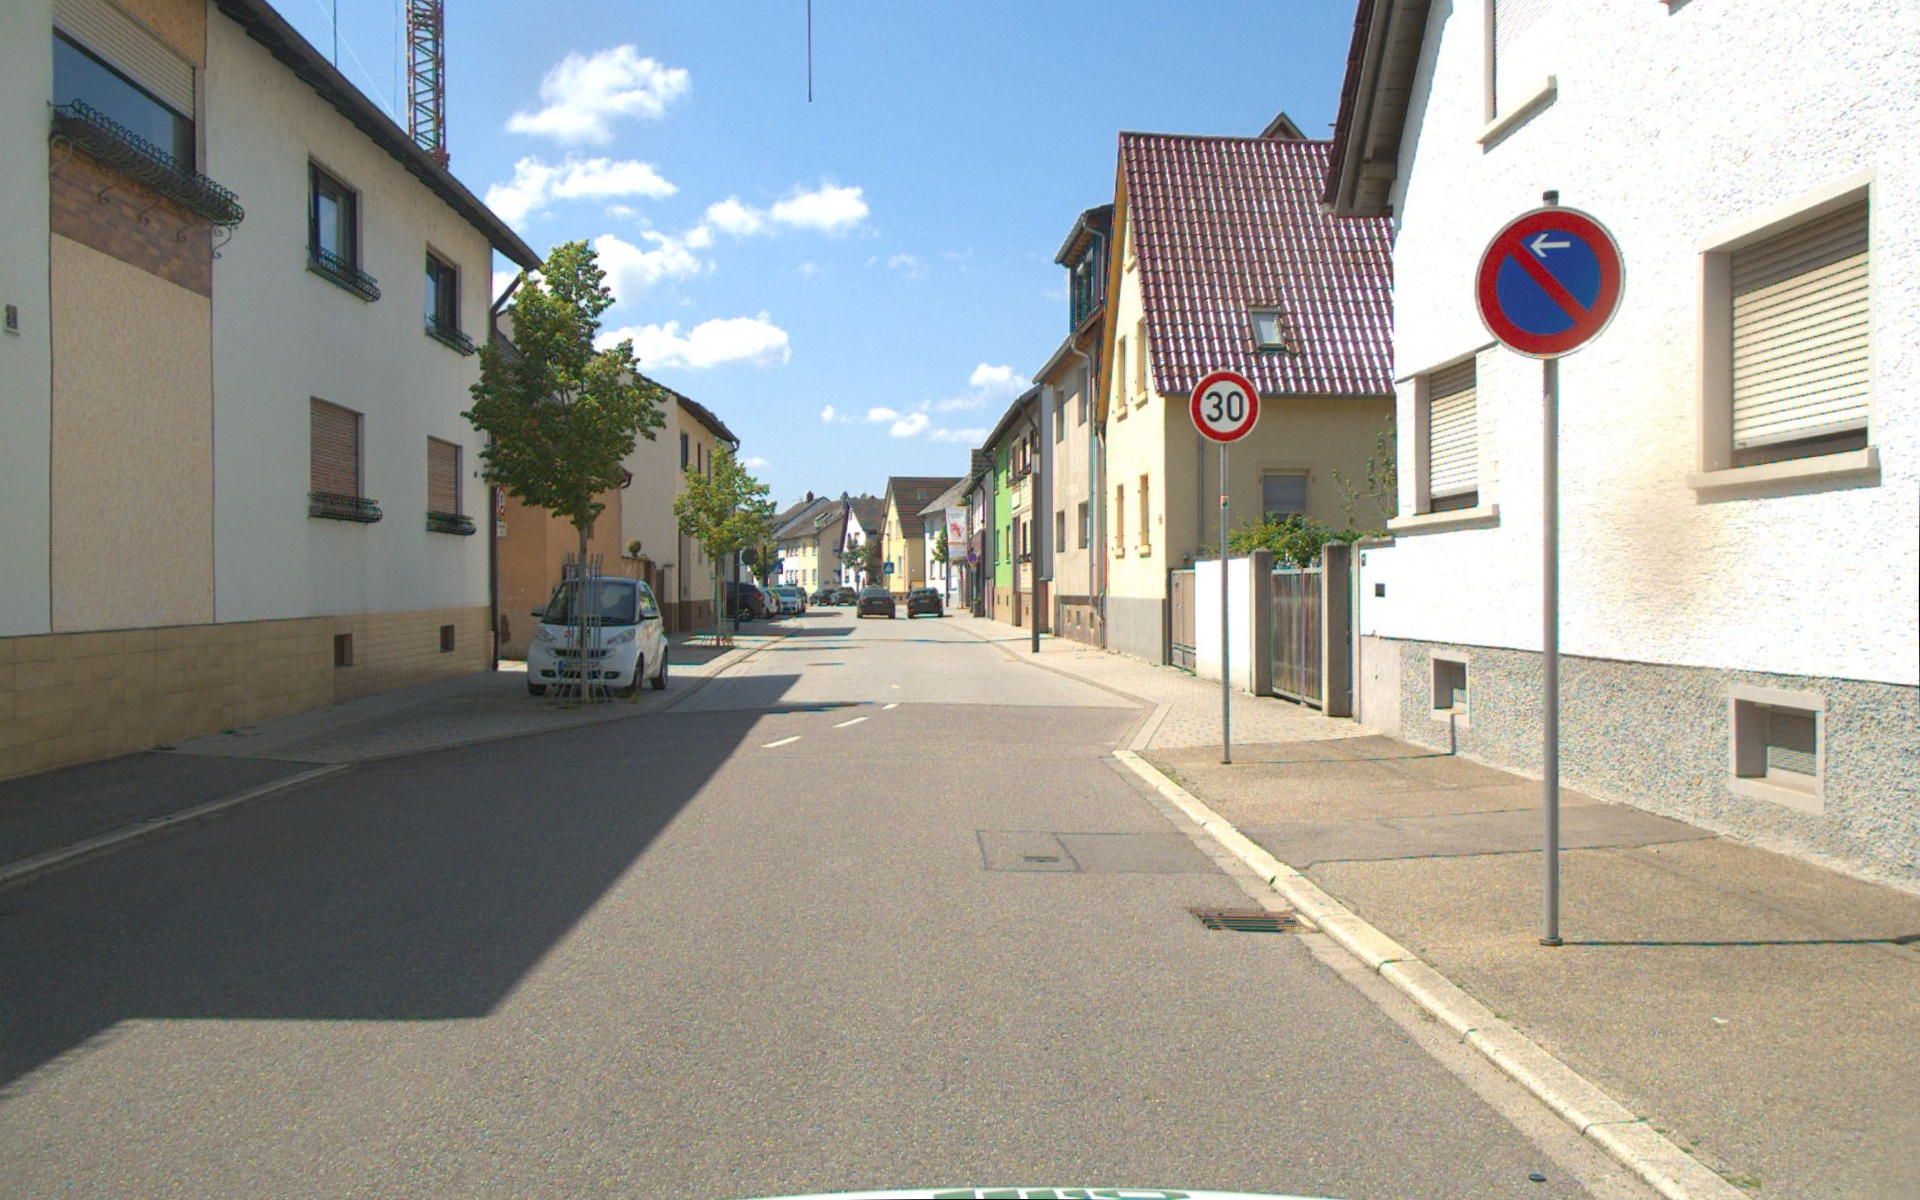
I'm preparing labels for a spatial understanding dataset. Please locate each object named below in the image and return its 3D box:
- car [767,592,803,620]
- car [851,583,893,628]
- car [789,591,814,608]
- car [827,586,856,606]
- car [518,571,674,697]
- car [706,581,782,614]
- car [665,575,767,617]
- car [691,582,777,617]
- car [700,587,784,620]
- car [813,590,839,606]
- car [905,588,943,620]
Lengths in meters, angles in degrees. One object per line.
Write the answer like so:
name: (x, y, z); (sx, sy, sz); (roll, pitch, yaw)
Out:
car: (-9.723, 0.309, 92.102); (1.722, 1.435, 3.876); (1, 1, -3)
car: (-4.321, 0.230, 80.894); (1.954, 2.093, 4.371); (-1, 1, -4)
car: (-15.364, -0.047, 160.048); (1.846, 1.619, 3.985); (-1, 1, -15)
car: (-10.011, -0.334, 139.363); (1.816, 1.590, 3.679); (-1, 1, -15)
car: (-4.932, 0.429, 22.721); (1.540, 1.588, 2.821); (2, 0, -1)
car: (-10.925, -0.123, 83.933); (3.618, 1.552, 1.672); (2, 0, -2)
car: (-10.394, -0.182, 70.671); (4.135, 1.687, 1.783); (1, 0, -4)
car: (-10.696, -0.016, 78.568); (3.822, 1.528, 1.750); (2, 0, -2)
car: (-10.664, 0.180, 81.052); (3.908, 1.467, 1.690); (2, 0, -3)
car: (-11.949, -0.200, 146.973); (1.682, 1.411, 3.691); (-1, 1, -15)
car: (-1.812, 0.179, 83.386); (1.820, 1.484, 4.585); (-3, 1, -1)
